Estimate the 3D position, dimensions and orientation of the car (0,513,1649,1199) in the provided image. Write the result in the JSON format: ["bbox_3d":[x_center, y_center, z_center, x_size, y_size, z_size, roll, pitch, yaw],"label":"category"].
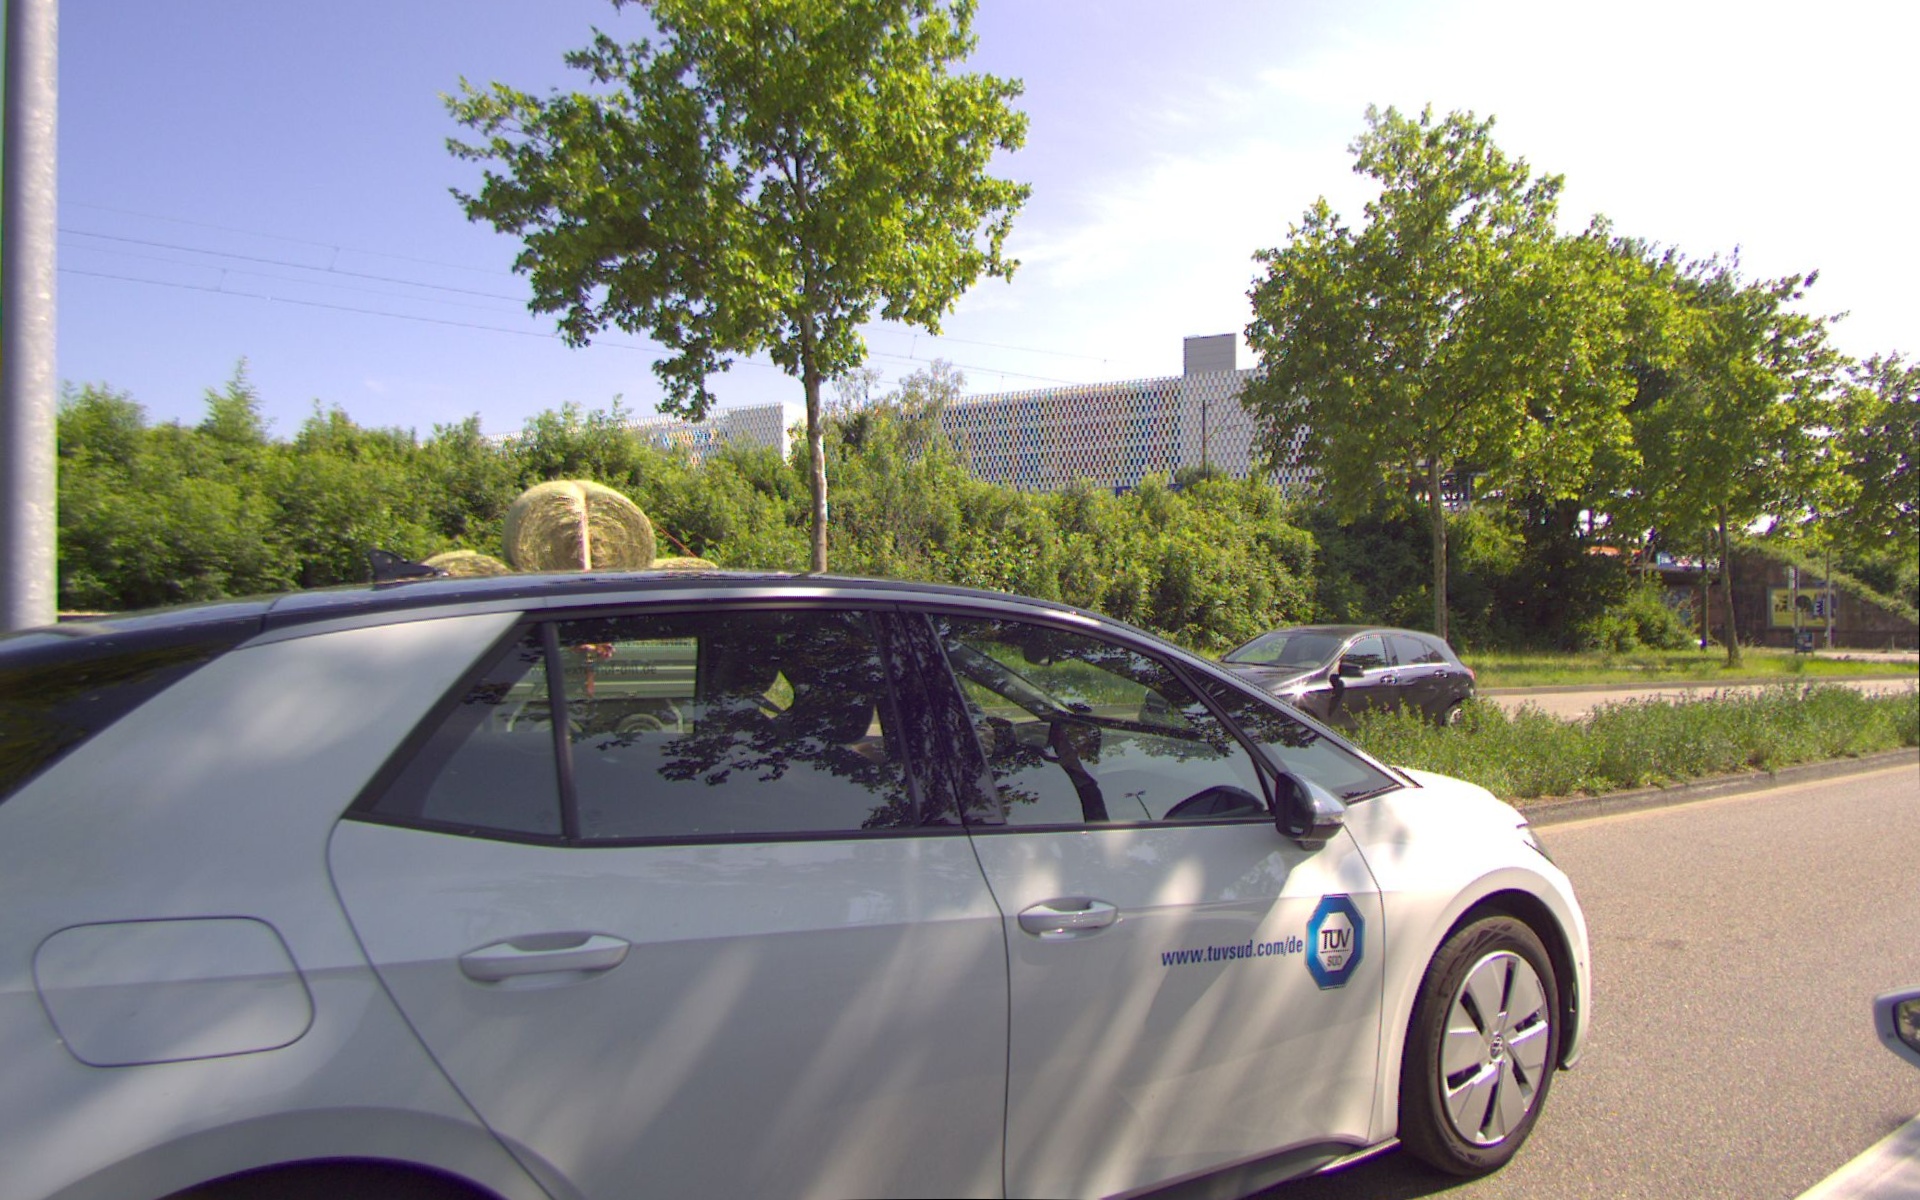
[{"bbox_3d":[-0.215,0.698,2.686,4.159,1.541,1.810,1,0,-31],"label":"car"}]

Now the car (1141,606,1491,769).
[{"bbox_3d":[3.945,0.860,10.980,3.747,1.491,1.594,2,0,-31],"label":"car"}]

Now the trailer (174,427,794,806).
[{"bbox_3d":[-4.174,0.157,9.418,4.773,2.780,1.870,1,1,-31],"label":"trailer"}]

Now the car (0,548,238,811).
[{"bbox_3d":[-8.318,0.495,6.880,5.316,1.813,1.755,2,1,-32],"label":"car"}]
